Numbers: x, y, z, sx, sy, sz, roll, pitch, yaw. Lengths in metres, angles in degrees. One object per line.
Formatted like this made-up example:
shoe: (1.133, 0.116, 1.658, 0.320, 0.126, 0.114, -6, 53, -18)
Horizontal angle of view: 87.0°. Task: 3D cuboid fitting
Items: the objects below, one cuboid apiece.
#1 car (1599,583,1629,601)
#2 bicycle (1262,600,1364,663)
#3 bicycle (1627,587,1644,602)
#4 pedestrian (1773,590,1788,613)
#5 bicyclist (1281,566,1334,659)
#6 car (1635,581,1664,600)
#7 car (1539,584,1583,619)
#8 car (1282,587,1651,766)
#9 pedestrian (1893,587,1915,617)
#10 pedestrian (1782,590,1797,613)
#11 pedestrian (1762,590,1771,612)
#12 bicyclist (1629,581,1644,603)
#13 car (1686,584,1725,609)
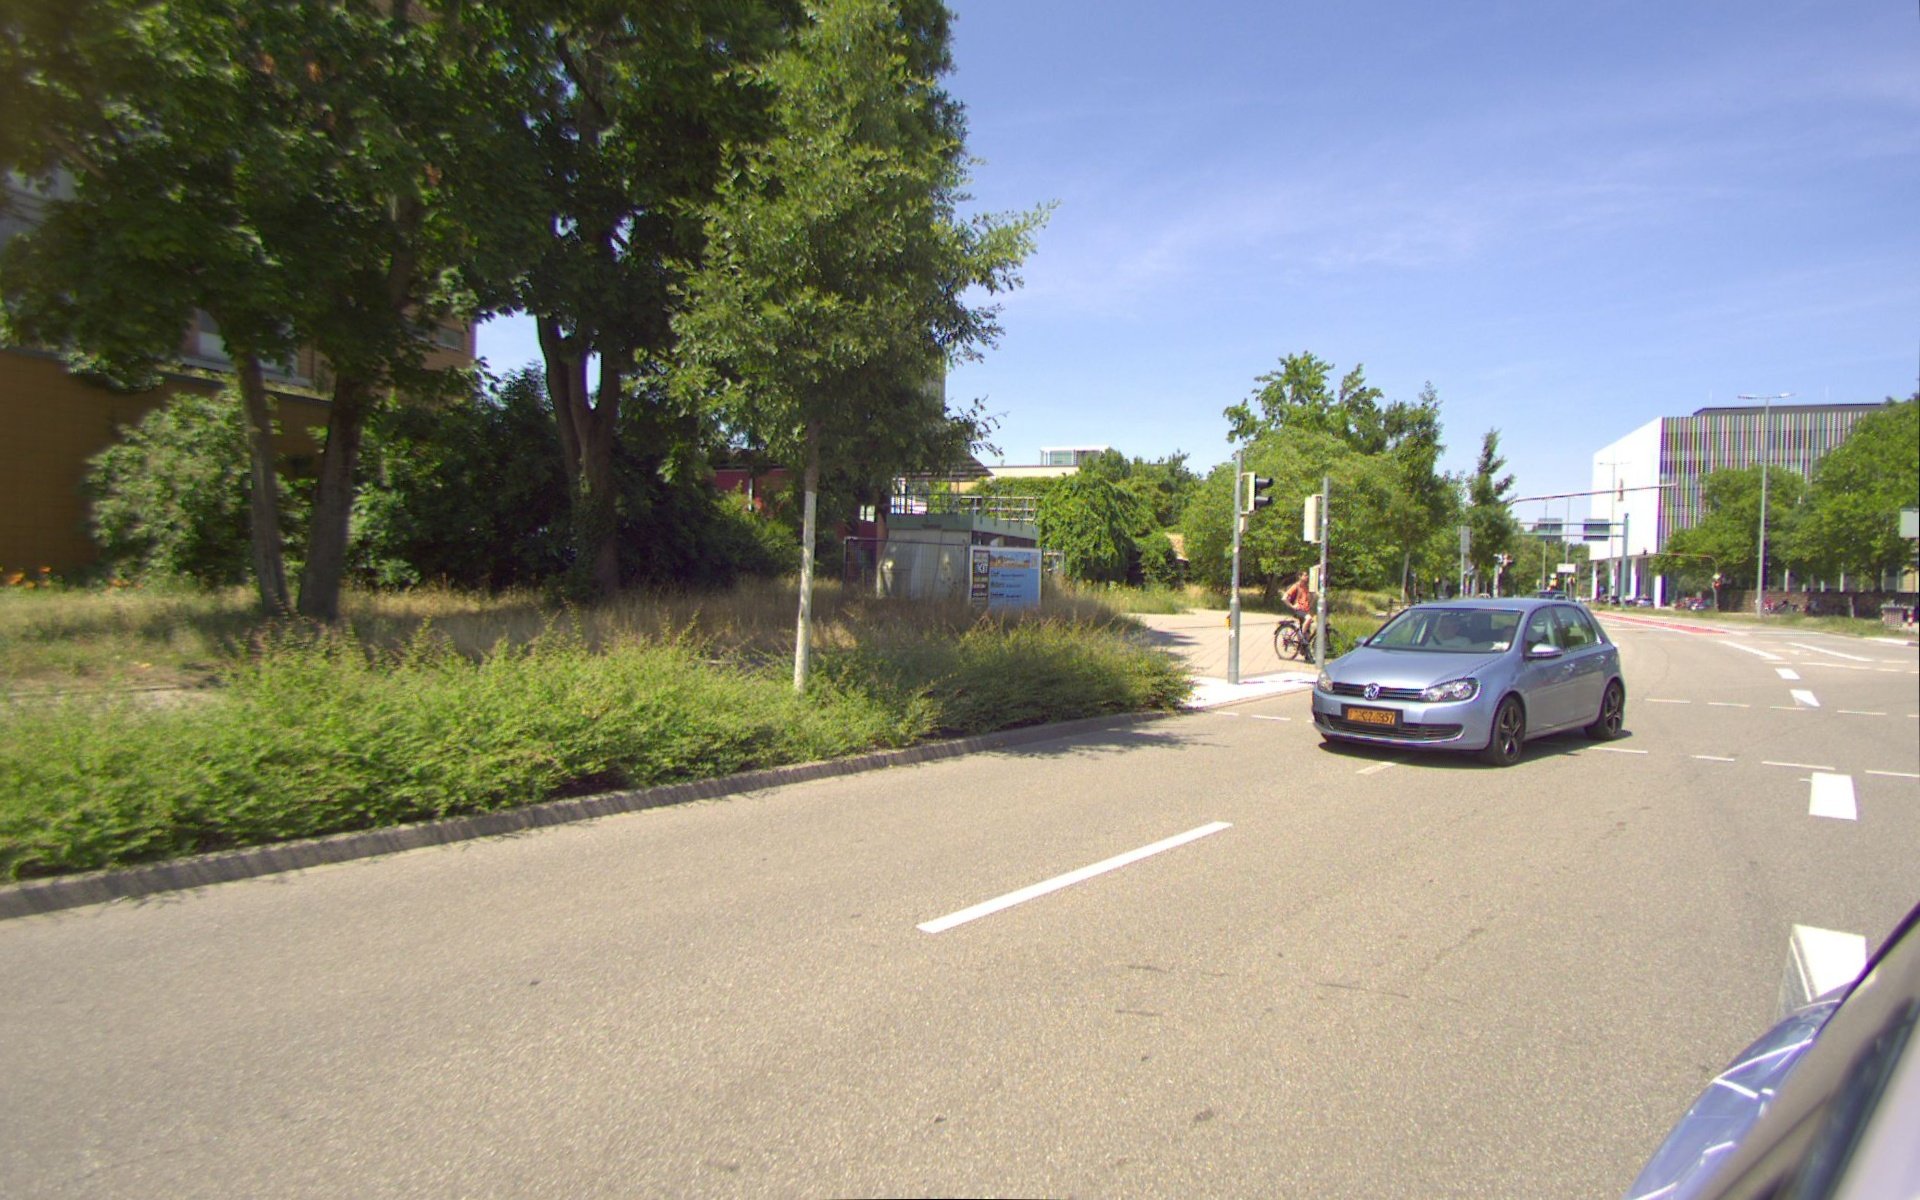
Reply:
car: (65.949, -0.813, 102.101, 1.758, 1.690, 3.970, 2, -1, 22)
bicycle: (6.724, 0.577, 19.399, 0.547, 1.058, 2.001, 2, 1, -25)
bicycle: (59.206, -0.485, 88.707, 0.513, 1.253, 2.181, 2, -1, 15)
pedestrian: (75.067, 0.149, 92.557, 0.780, 2.039, 0.956, 2, -1, 24)
bicyclist: (6.694, 0.235, 19.494, 0.540, 1.737, 0.704, 3, 0, -26)
car: (68.545, -0.891, 100.702, 1.764, 1.705, 3.963, 2, -1, 26)
car: (29.904, 0.096, 50.440, 1.694, 1.606, 4.509, 2, -1, 29)
car: (5.165, 0.603, 10.140, 3.922, 1.432, 1.832, 0, 1, -39)
pedestrian: (73.733, 0.167, 79.047, 0.836, 2.320, 1.071, 2, -1, 12)
pedestrian: (75.704, 0.146, 92.350, 0.780, 2.039, 0.833, 2, -1, 24)
pedestrian: (73.978, 0.083, 92.845, 0.544, 2.039, 0.532, 2, -1, 24)
bicyclist: (59.240, -0.713, 88.676, 0.699, 1.911, 1.133, 2, -1, 14)
car: (67.738, -0.304, 91.989, 1.978, 2.039, 4.178, 2, -1, 24)
